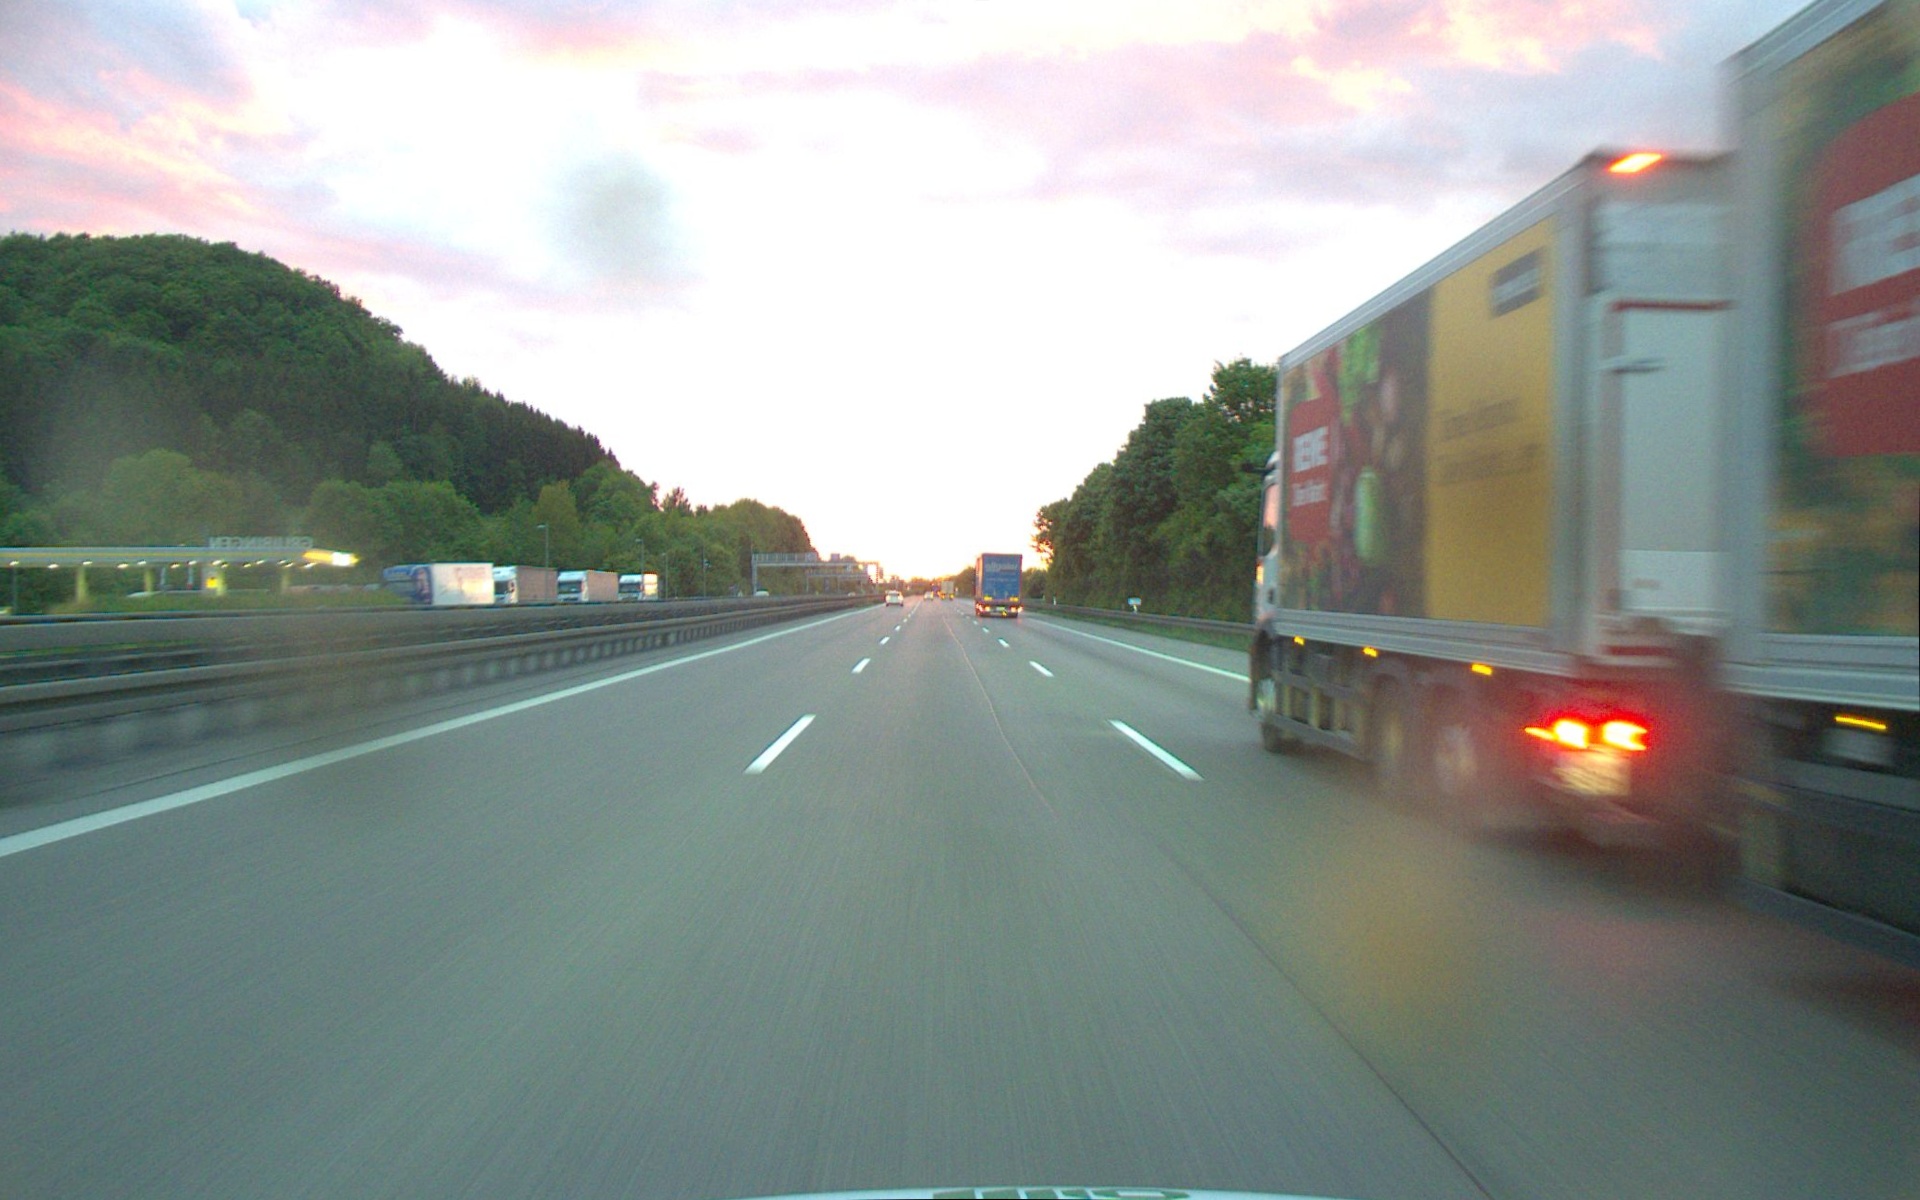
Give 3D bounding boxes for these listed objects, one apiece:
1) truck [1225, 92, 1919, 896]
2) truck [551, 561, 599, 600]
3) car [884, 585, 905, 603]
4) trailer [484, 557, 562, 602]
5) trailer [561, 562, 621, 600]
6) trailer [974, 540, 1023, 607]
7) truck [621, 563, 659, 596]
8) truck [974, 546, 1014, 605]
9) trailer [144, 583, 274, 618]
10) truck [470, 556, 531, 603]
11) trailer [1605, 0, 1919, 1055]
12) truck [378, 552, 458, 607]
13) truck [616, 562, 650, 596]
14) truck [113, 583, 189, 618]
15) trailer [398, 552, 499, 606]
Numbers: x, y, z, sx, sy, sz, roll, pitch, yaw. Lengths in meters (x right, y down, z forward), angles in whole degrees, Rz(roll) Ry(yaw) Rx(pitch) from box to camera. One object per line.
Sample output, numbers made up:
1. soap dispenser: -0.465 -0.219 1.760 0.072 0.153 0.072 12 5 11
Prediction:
1. truck: 4.284 -0.537 13.231 2.563 3.894 10.385 0 0 -1
2. truck: -35.407 -1.760 152.303 2.814 3.484 6.726 1 1 0
3. car: -6.619 -0.617 166.782 1.973 1.780 3.902 -3 1 -2
4. trailer: -35.316 -1.680 134.291 2.814 3.484 13.570 1 1 0
5. trailer: -35.437 -1.847 159.362 2.815 3.484 13.849 1 1 0
6. trailer: 2.467 -1.684 111.051 2.715 4.158 13.737 1 0 -1
7. truck: -35.474 -2.325 183.665 2.817 3.484 13.775 1 1 -5
8. truck: 2.375 -1.732 117.727 2.680 4.066 5.849 1 0 0
9. trailer: -80.604 -0.038 177.873 2.879 3.580 13.384 0 0 32
10. truck: -35.291 -1.582 127.343 2.815 3.484 6.726 1 1 0
11. trailer: 4.432 -0.467 3.437 2.563 3.894 8.876 0 0 -1
12. truck: -35.286 -1.362 107.897 2.814 3.434 7.175 1 1 0
13. truck: -34.847 -2.236 176.575 2.817 3.484 6.720 1 1 -5
14. truck: -84.170 0.030 172.161 2.879 3.580 6.696 0 0 32
15. trailer: -35.258 -1.479 114.738 2.814 3.484 13.225 1 1 0
